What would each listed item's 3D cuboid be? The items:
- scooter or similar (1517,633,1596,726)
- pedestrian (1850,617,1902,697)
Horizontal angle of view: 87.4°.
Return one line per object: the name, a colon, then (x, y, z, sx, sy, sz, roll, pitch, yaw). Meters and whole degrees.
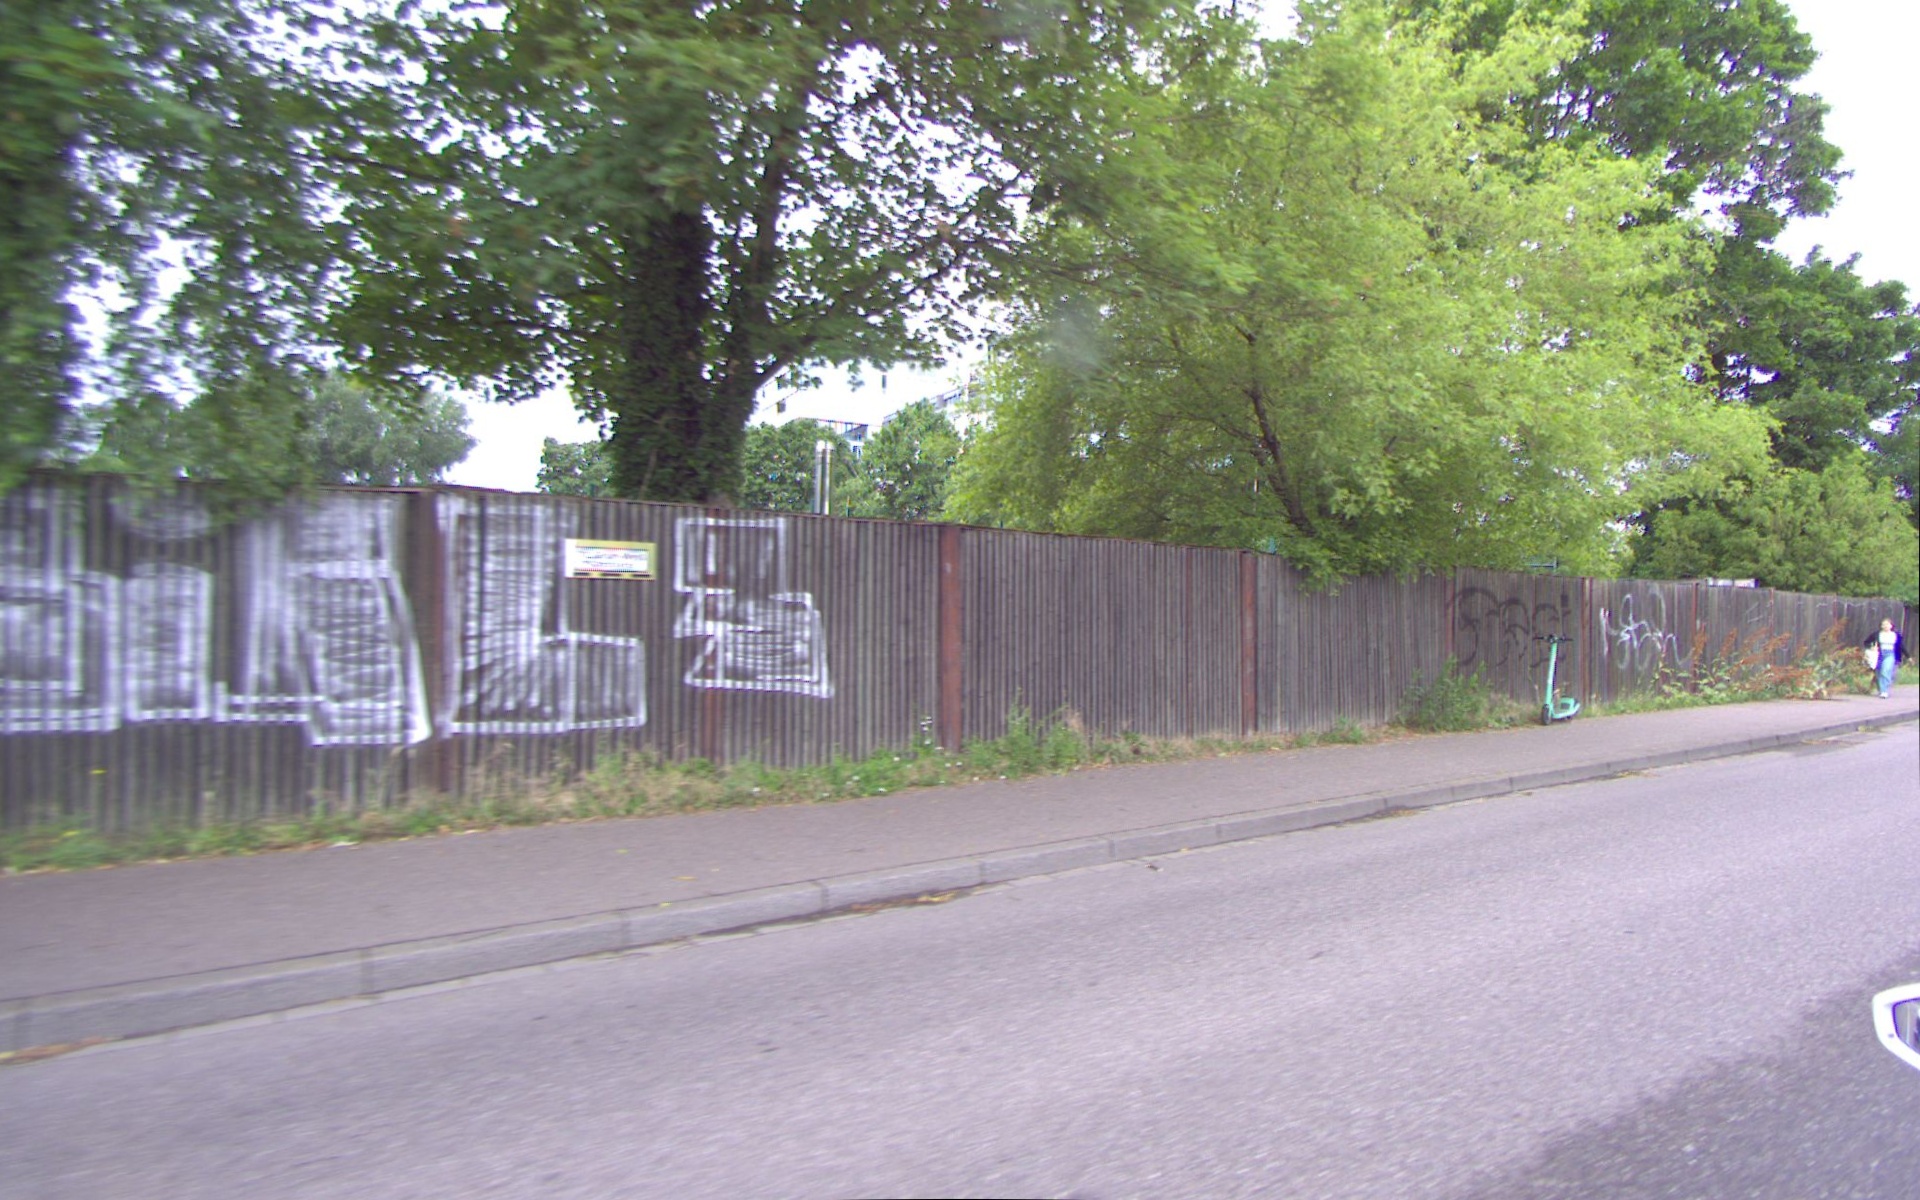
scooter or similar: (8.018, 1.039, 13.489, 1.290, 1.186, 0.420, 1, -1, -35)
pedestrian: (18.199, 1.112, 19.955, 0.716, 1.549, 0.608, 1, 0, -34)
